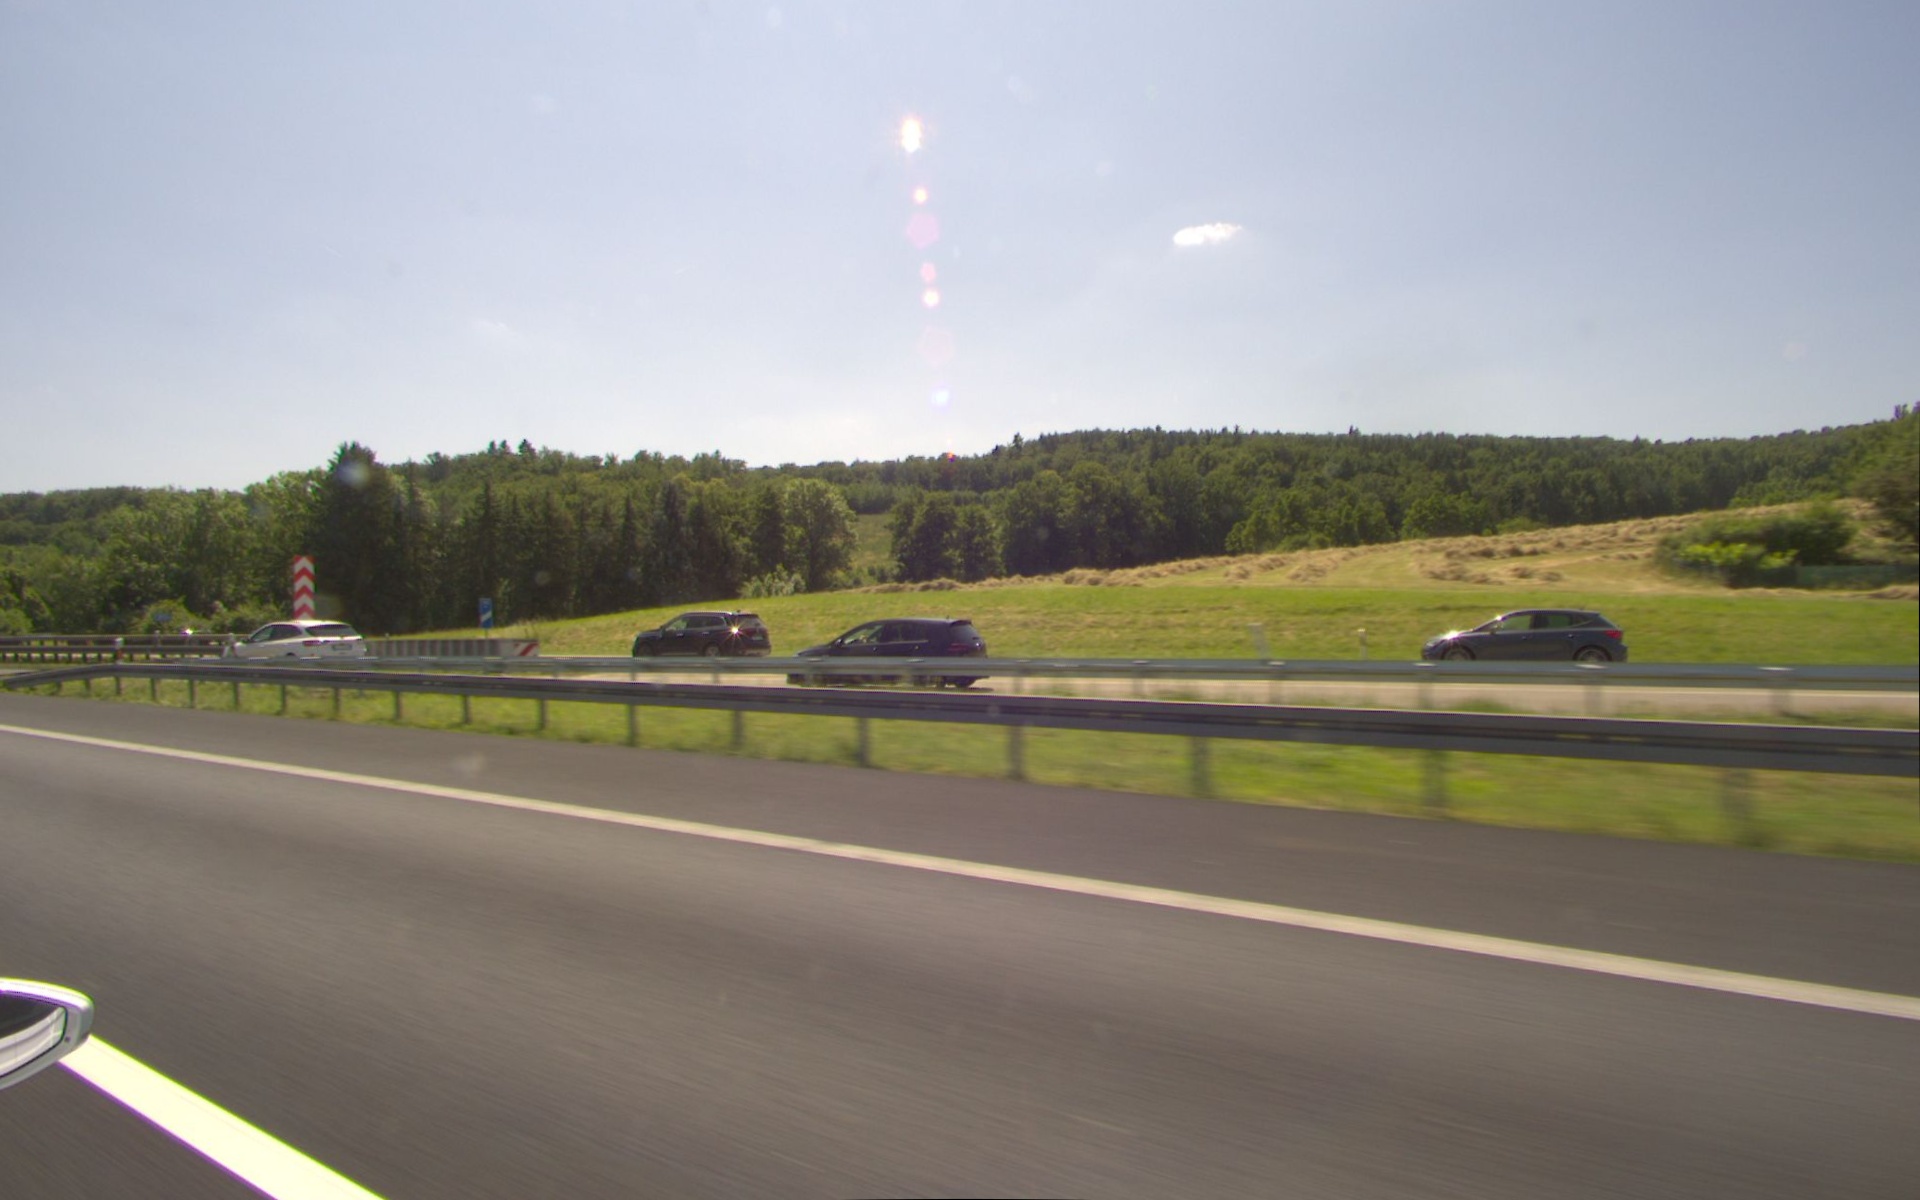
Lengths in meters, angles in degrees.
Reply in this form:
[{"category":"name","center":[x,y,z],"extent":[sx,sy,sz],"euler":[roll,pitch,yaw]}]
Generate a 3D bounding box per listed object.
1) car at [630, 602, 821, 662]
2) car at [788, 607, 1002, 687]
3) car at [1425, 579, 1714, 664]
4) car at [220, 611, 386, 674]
[{"category":"car","center":[-7.030,0.977,29.911],"extent":[5.536,1.683,1.994],"euler":[-1,-2,26]},{"category":"car","center":[-1.305,0.931,19.935],"extent":[3.902,1.453,1.795],"euler":[-1,-2,26]},{"category":"car","center":[13.063,0.518,21.874],"extent":[5.148,1.683,1.993],"euler":[-1,-2,28]},{"category":"car","center":[-18.796,1.227,28.636],"extent":[4.396,1.683,1.994],"euler":[-1,-2,26]}]
